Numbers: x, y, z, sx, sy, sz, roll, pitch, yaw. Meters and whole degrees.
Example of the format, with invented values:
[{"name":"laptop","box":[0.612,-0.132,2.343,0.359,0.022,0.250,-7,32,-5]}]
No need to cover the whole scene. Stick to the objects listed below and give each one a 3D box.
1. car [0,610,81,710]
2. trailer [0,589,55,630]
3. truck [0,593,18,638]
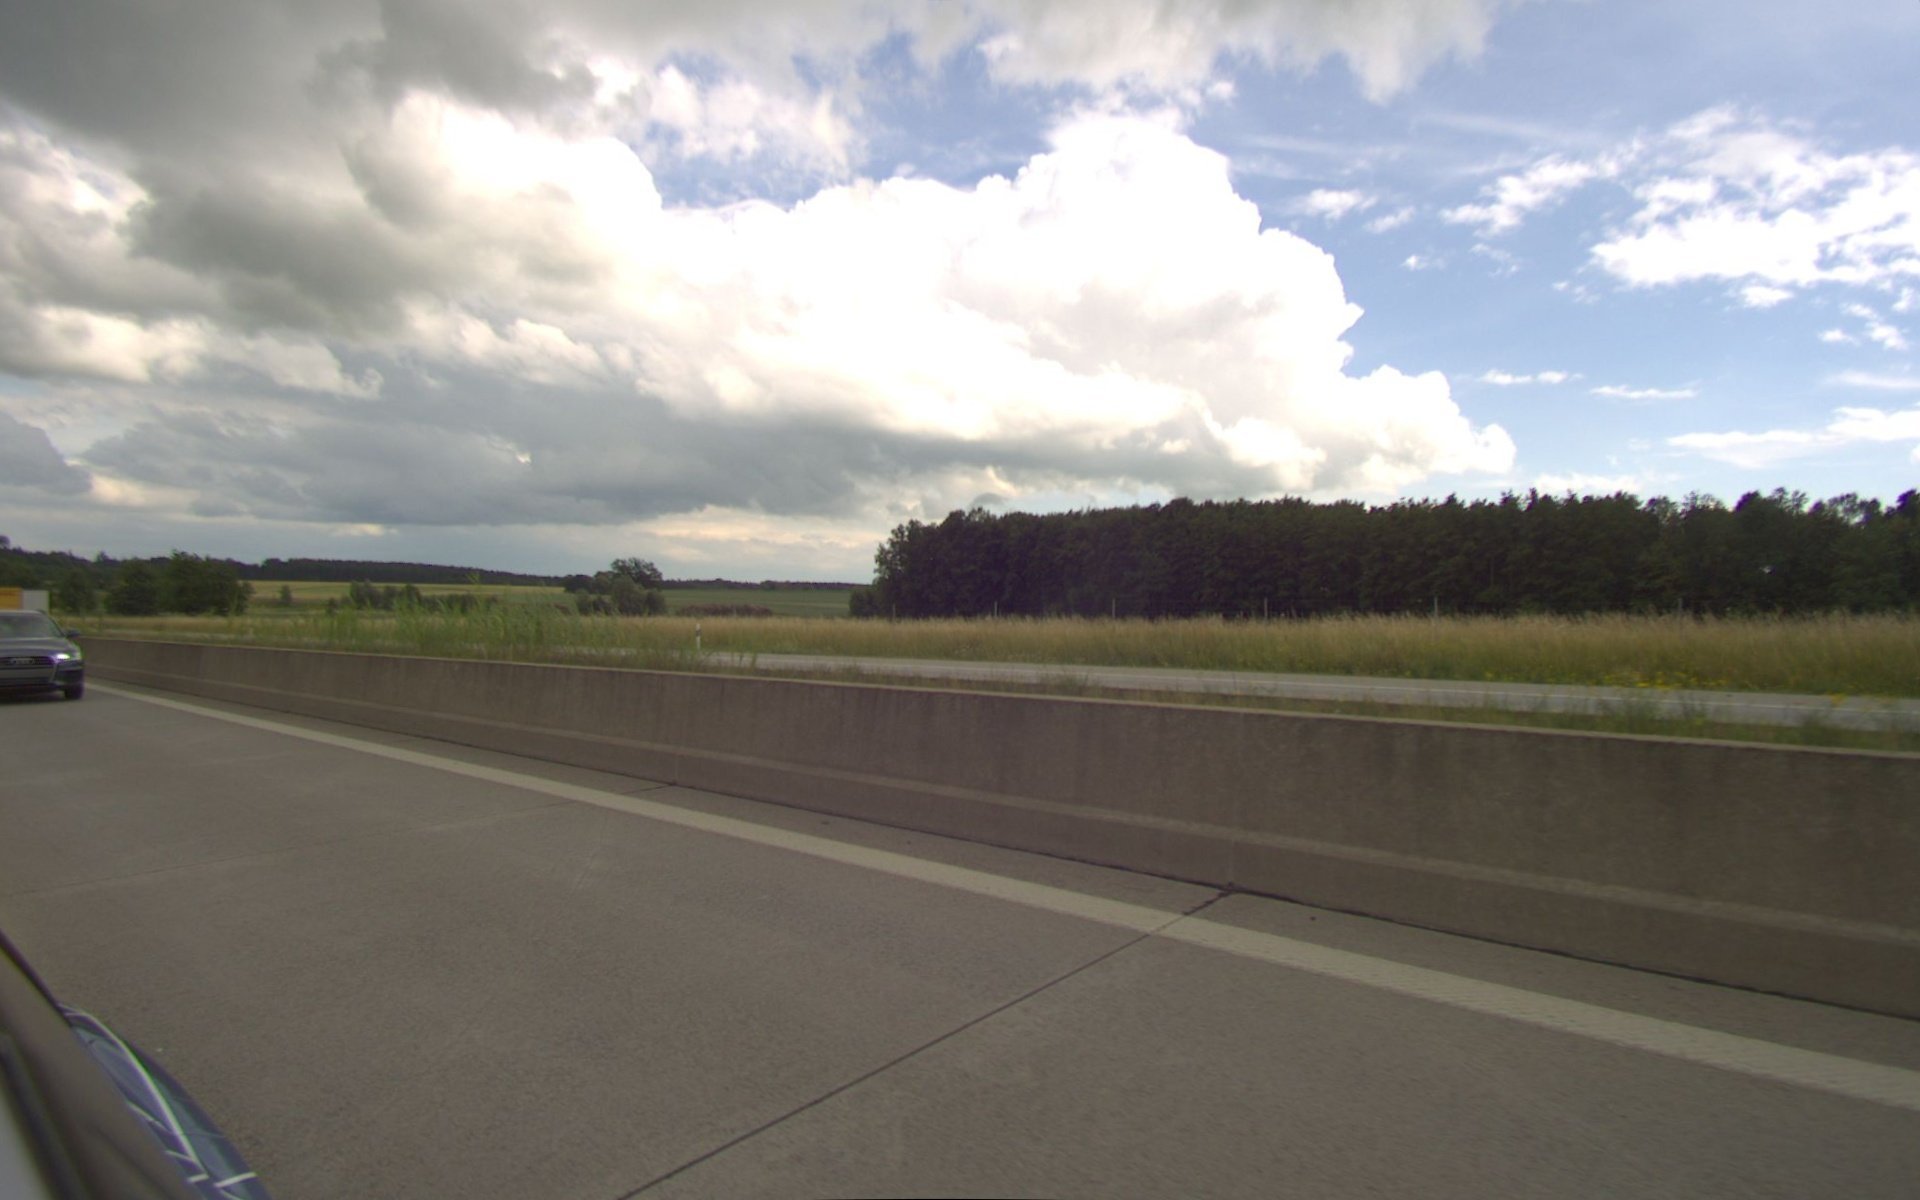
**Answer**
[{"name":"car","box":[-17.367,1.006,18.231,5.157,1.608,1.773,-1,0,43]},{"name":"trailer","box":[-98.258,1.075,106.300,13.895,4.069,2.811,-1,-1,40]},{"name":"truck","box":[-90.302,1.456,94.006,10.559,4.069,2.788,-1,-2,40]}]
